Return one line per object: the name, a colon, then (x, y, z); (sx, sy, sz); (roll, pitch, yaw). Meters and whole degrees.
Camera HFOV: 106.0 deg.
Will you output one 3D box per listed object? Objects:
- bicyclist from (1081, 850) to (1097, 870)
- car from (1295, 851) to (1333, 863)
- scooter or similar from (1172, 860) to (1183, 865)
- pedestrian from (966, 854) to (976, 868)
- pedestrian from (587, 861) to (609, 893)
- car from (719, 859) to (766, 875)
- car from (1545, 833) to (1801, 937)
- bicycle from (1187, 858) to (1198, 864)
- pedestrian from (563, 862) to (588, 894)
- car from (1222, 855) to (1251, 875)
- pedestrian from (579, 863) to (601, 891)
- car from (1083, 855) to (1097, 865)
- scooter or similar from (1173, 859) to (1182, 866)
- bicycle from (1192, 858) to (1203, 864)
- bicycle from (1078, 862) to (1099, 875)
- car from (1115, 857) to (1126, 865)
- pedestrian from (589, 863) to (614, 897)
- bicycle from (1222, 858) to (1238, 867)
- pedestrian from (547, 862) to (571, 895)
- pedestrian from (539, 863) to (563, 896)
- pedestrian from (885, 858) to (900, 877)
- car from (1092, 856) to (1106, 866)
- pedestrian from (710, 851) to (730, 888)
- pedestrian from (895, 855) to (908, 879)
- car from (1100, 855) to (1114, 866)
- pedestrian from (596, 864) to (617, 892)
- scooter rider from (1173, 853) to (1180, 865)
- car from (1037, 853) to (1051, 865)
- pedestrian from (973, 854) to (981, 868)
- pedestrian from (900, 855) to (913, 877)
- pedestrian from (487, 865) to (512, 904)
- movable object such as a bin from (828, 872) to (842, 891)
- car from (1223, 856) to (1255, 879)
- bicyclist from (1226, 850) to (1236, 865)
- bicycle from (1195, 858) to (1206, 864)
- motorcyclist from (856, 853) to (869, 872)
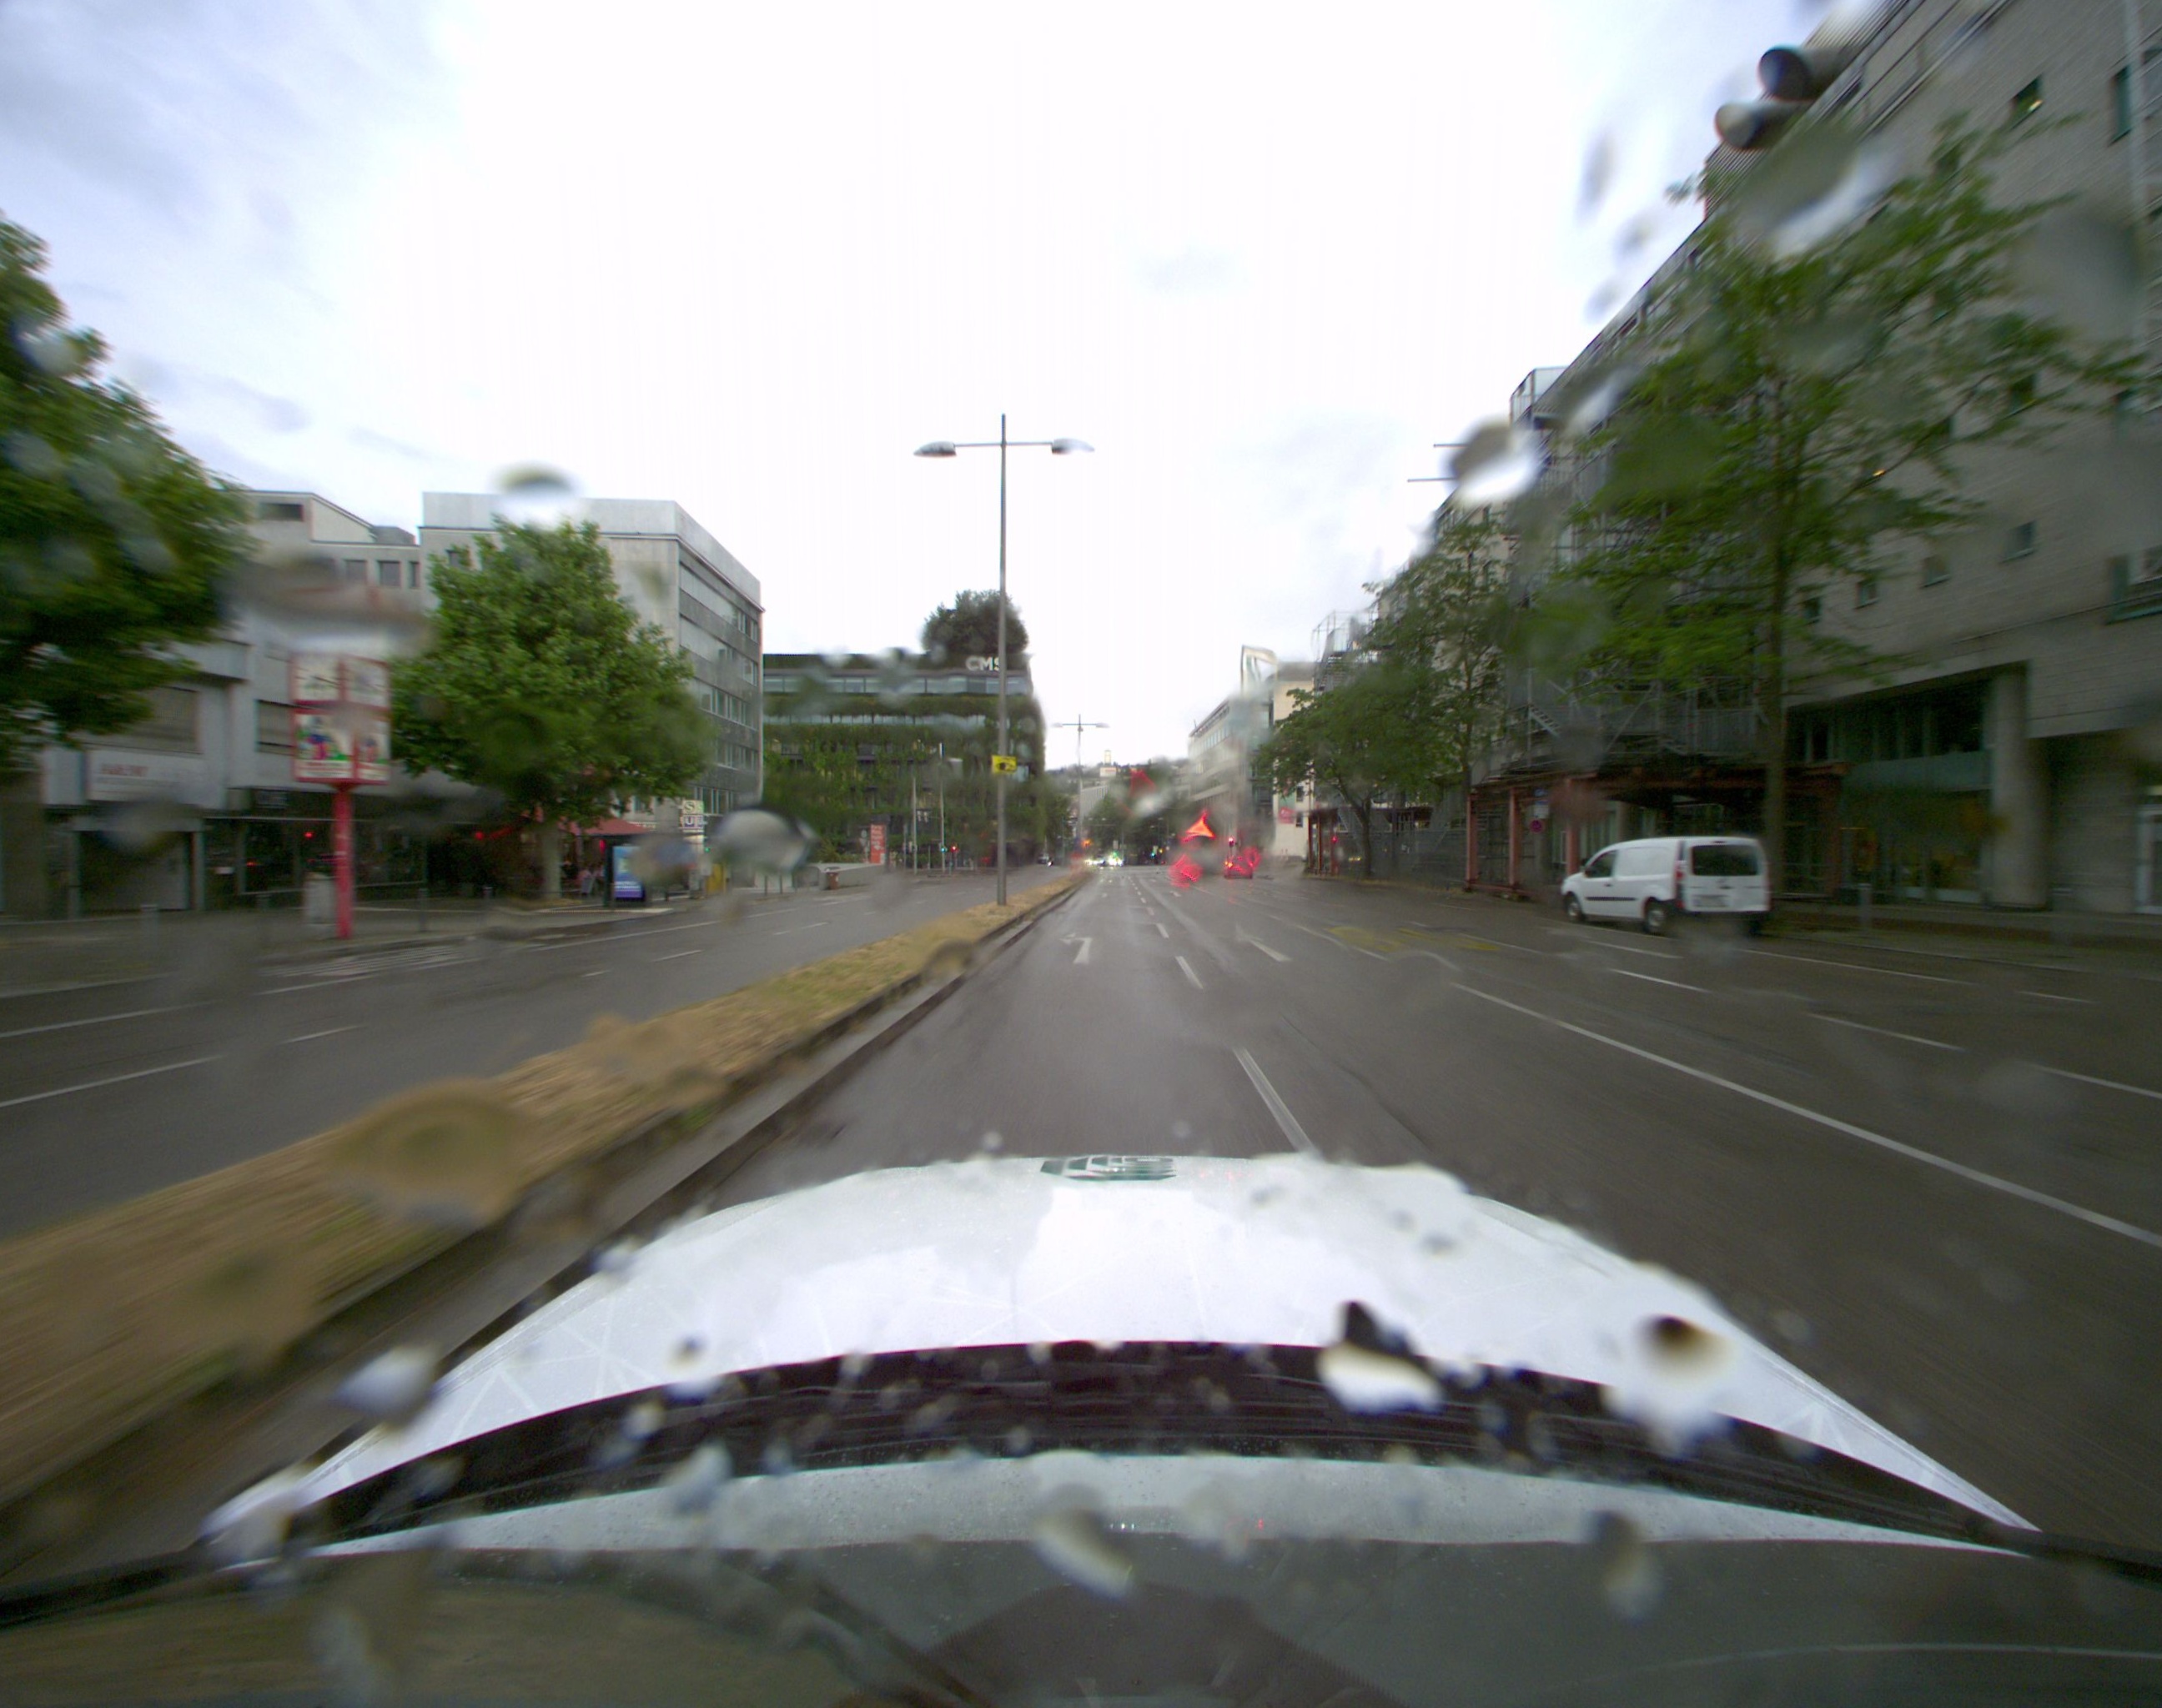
bicyclist: (0.702, 0.541, 71.417); (0.837, 1.704, 1.307); (-1, 0, 32)
car: (31.352, 0.432, 109.575); (4.454, 1.598, 1.992); (-1, 0, -13)
scooter or similar: (16.671, 1.481, 140.719); (1.750, 0.878, 0.486); (-1, -1, -17)
pedestrian: (-13.774, 0.869, 101.800); (0.938, 1.758, 1.163); (-1, 0, -21)
pedestrian: (-22.786, 1.082, 38.430); (0.631, 1.450, 0.690); (0, 0, -4)
car: (-32.559, 1.253, 78.403); (3.892, 1.523, 1.865); (-1, 0, -11)
car: (11.465, 0.538, 16.275); (1.985, 1.750, 4.530); (-1, 0, 3)
bicycle: (18.274, 1.149, 133.476); (1.786, 0.934, 0.476); (-1, 0, 5)
pedestrian: (-23.008, 1.077, 37.058); (0.725, 1.450, 0.690); (0, 0, -4)
car: (12.481, 0.885, 65.072); (1.690, 1.529, 4.447); (-1, 0, 18)
pedestrian: (-23.688, 1.104, 39.296); (0.631, 1.356, 0.690); (0, 0, -4)
car: (1.363, 0.986, 125.765); (1.852, 1.448, 4.615); (-1, 0, -3)
scooter or similar: (14.624, 1.296, 123.728); (0.558, 1.007, 1.812); (-1, -1, -19)
bicycle: (18.811, 1.126, 131.603); (1.786, 0.934, 0.476); (-1, 0, 5)
bicycle: (0.685, 1.267, 71.396); (0.837, 1.103, 2.166); (-1, 0, 32)
car: (7.715, 1.323, 159.355); (1.987, 1.443, 4.554); (-1, 0, 0)
pedestrian: (-21.278, 1.147, 36.151); (0.687, 1.450, 0.707); (0, 0, -2)
bicycle: (19.846, 1.156, 108.528); (0.797, 1.117, 2.230); (0, 0, -38)
pedestrian: (-23.062, 1.063, 36.009); (0.687, 1.450, 0.583); (0, 0, -1)
pedestrian: (-23.024, 1.103, 35.368); (0.687, 1.450, 0.547); (0, 0, -2)
pedestrian: (-16.670, 1.157, 72.039); (0.827, 1.585, 0.924); (-5, 0, 6)
car: (3.196, 1.252, 148.328); (2.170, 1.823, 4.638); (-1, 0, -3)
pedestrian: (-18.507, 0.804, 41.745); (0.687, 1.885, 0.758); (0, 0, -2)
pedestrian: (-14.677, 1.034, 66.570); (0.804, 1.885, 0.865); (-5, 0, -4)
car: (3.778, 0.888, 119.797); (1.986, 1.550, 4.558); (-1, 0, 2)
pedestrian: (-22.898, 1.142, 39.293); (0.631, 1.344, 0.690); (0, 0, -4)
scooter rider: (14.569, 0.778, 123.843); (0.764, 1.774, 0.791); (-1, -1, -19)
car: (-5.883, 0.840, 130.015); (1.988, 1.895, 4.462); (-1, 0, -1)
pedestrian: (-13.027, 0.887, 102.073); (0.744, 1.758, 0.969); (-1, 0, -21)
pedestrian: (-15.400, 1.021, 71.954); (0.892, 1.885, 0.786); (-5, 0, -2)
pedestrian: (-24.218, 1.266, 33.917); (0.595, 1.571, 0.603); (-1, -1, -7)
movable object such as a bin: (-12.465, 1.385, 41.272); (0.531, 0.897, 0.681); (-2, 0, -7)
car: (11.189, 0.928, 57.927); (1.770, 1.540, 4.152); (-1, 0, 5)
bicyclist: (19.961, 0.505, 108.380); (0.797, 1.975, 1.101); (0, -1, -38)
bicycle: (18.680, 1.097, 127.274); (1.778, 0.934, 0.478); (-1, 0, 44)
motorcyclist: (-20.798, 0.806, 77.627); (1.187, 1.703, 0.844); (-1, 0, -14)
